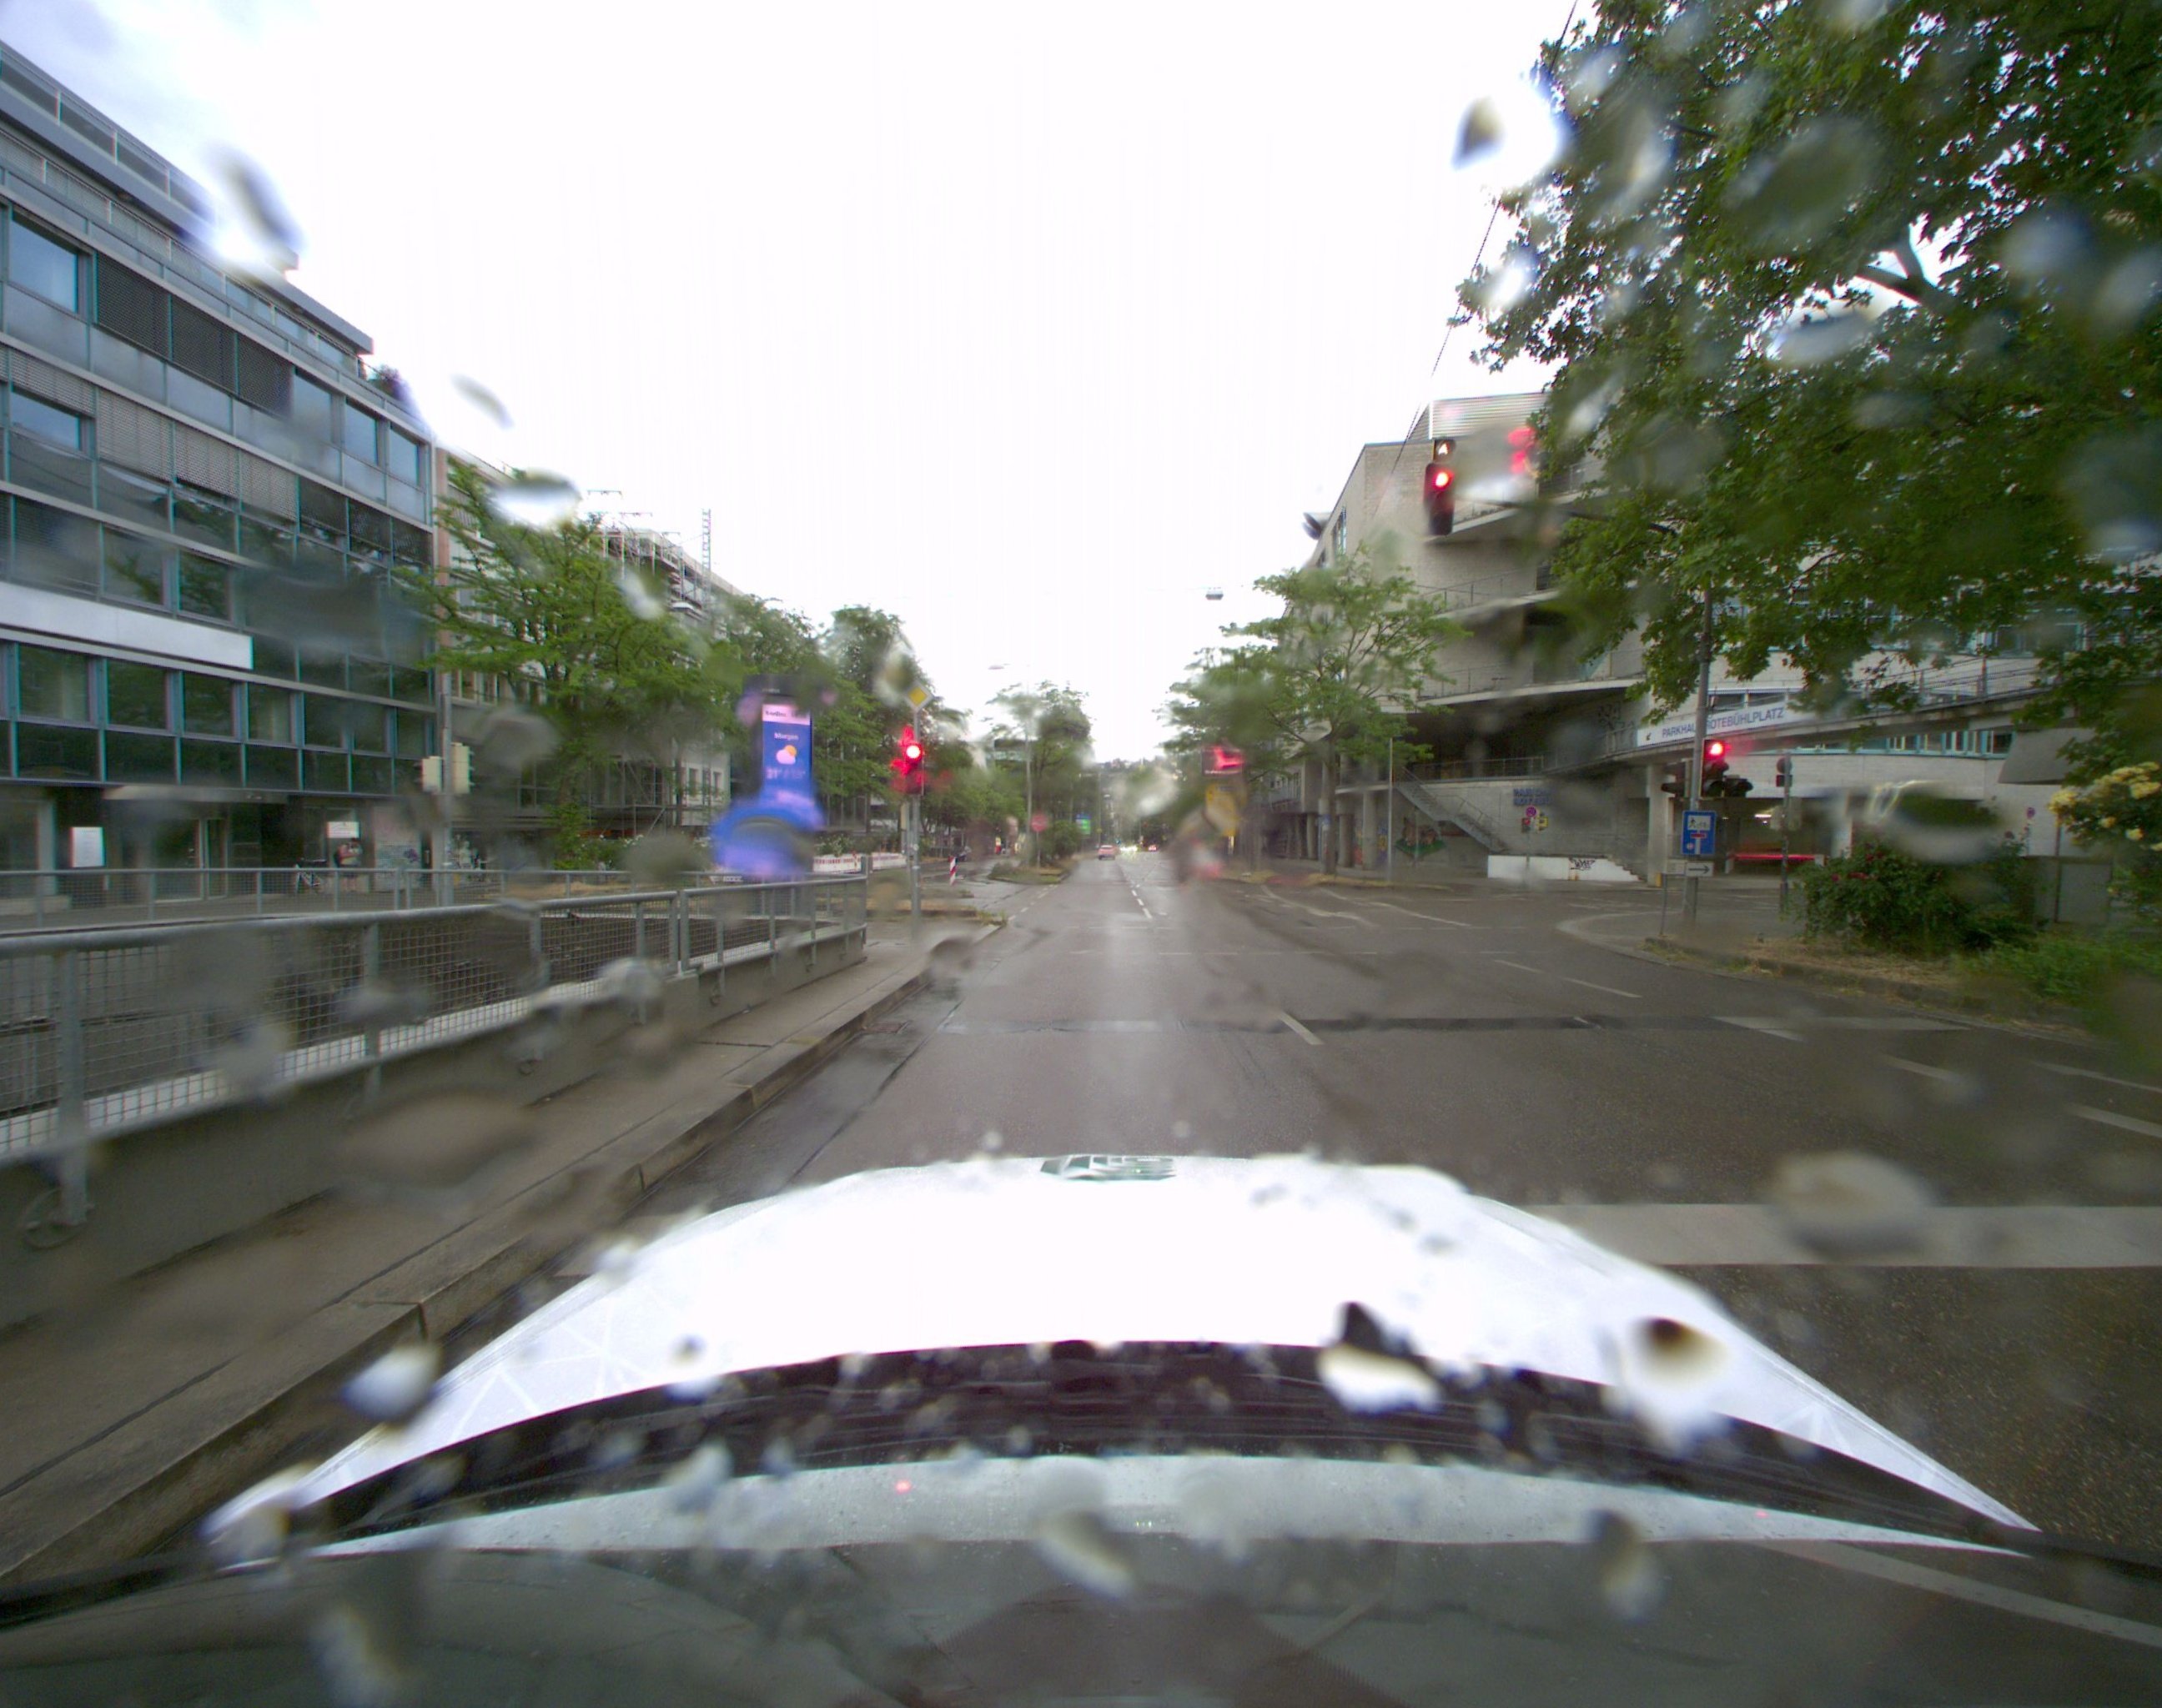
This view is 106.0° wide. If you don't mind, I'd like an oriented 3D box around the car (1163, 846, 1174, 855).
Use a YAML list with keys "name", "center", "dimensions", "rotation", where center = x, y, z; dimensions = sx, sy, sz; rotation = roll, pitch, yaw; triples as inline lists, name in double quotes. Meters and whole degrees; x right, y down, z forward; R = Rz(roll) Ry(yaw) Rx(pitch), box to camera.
- name: "car"
  center: [17.862, -0.640, 166.645]
  dimensions: [1.986, 1.736, 4.001]
  rotation: [0, -1, 2]

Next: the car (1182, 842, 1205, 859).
- name: "car"
  center: [11.535, -0.339, 83.348]
  dimensions: [2.324, 1.691, 4.010]
  rotation: [0, 0, 9]

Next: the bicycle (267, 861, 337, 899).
- name: "bicycle"
  center: [-22.956, 0.749, 24.042]
  dimensions: [0.444, 1.085, 1.567]
  rotation: [0, 0, 6]

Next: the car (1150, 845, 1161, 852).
- name: "car"
  center: [19.344, -1.382, 211.233]
  dimensions: [1.979, 1.758, 4.016]
  rotation: [1, 0, 15]

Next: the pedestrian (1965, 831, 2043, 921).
- name: "pedestrian"
  center: [20.016, 0.474, 17.675]
  dimensions: [0.843, 1.910, 0.758]
  rotation: [0, 0, 1]

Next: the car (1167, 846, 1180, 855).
- name: "car"
  center: [17.630, -0.625, 155.371]
  dimensions: [1.986, 1.723, 4.001]
  rotation: [0, -1, 1]

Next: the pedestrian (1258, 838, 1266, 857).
- name: "pedestrian"
  center: [18.621, -0.657, 83.705]
  dimensions: [0.770, 1.920, 0.705]
  rotation: [-1, -1, 11]

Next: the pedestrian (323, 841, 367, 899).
- name: "pedestrian"
  center: [-22.810, 0.485, 25.242]
  dimensions: [0.694, 1.741, 0.694]
  rotation: [1, 0, -4]

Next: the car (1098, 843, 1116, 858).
- name: "car"
  center: [2.941, -0.377, 92.804]
  dimensions: [1.823, 1.640, 4.299]
  rotation: [1, 0, 0]
